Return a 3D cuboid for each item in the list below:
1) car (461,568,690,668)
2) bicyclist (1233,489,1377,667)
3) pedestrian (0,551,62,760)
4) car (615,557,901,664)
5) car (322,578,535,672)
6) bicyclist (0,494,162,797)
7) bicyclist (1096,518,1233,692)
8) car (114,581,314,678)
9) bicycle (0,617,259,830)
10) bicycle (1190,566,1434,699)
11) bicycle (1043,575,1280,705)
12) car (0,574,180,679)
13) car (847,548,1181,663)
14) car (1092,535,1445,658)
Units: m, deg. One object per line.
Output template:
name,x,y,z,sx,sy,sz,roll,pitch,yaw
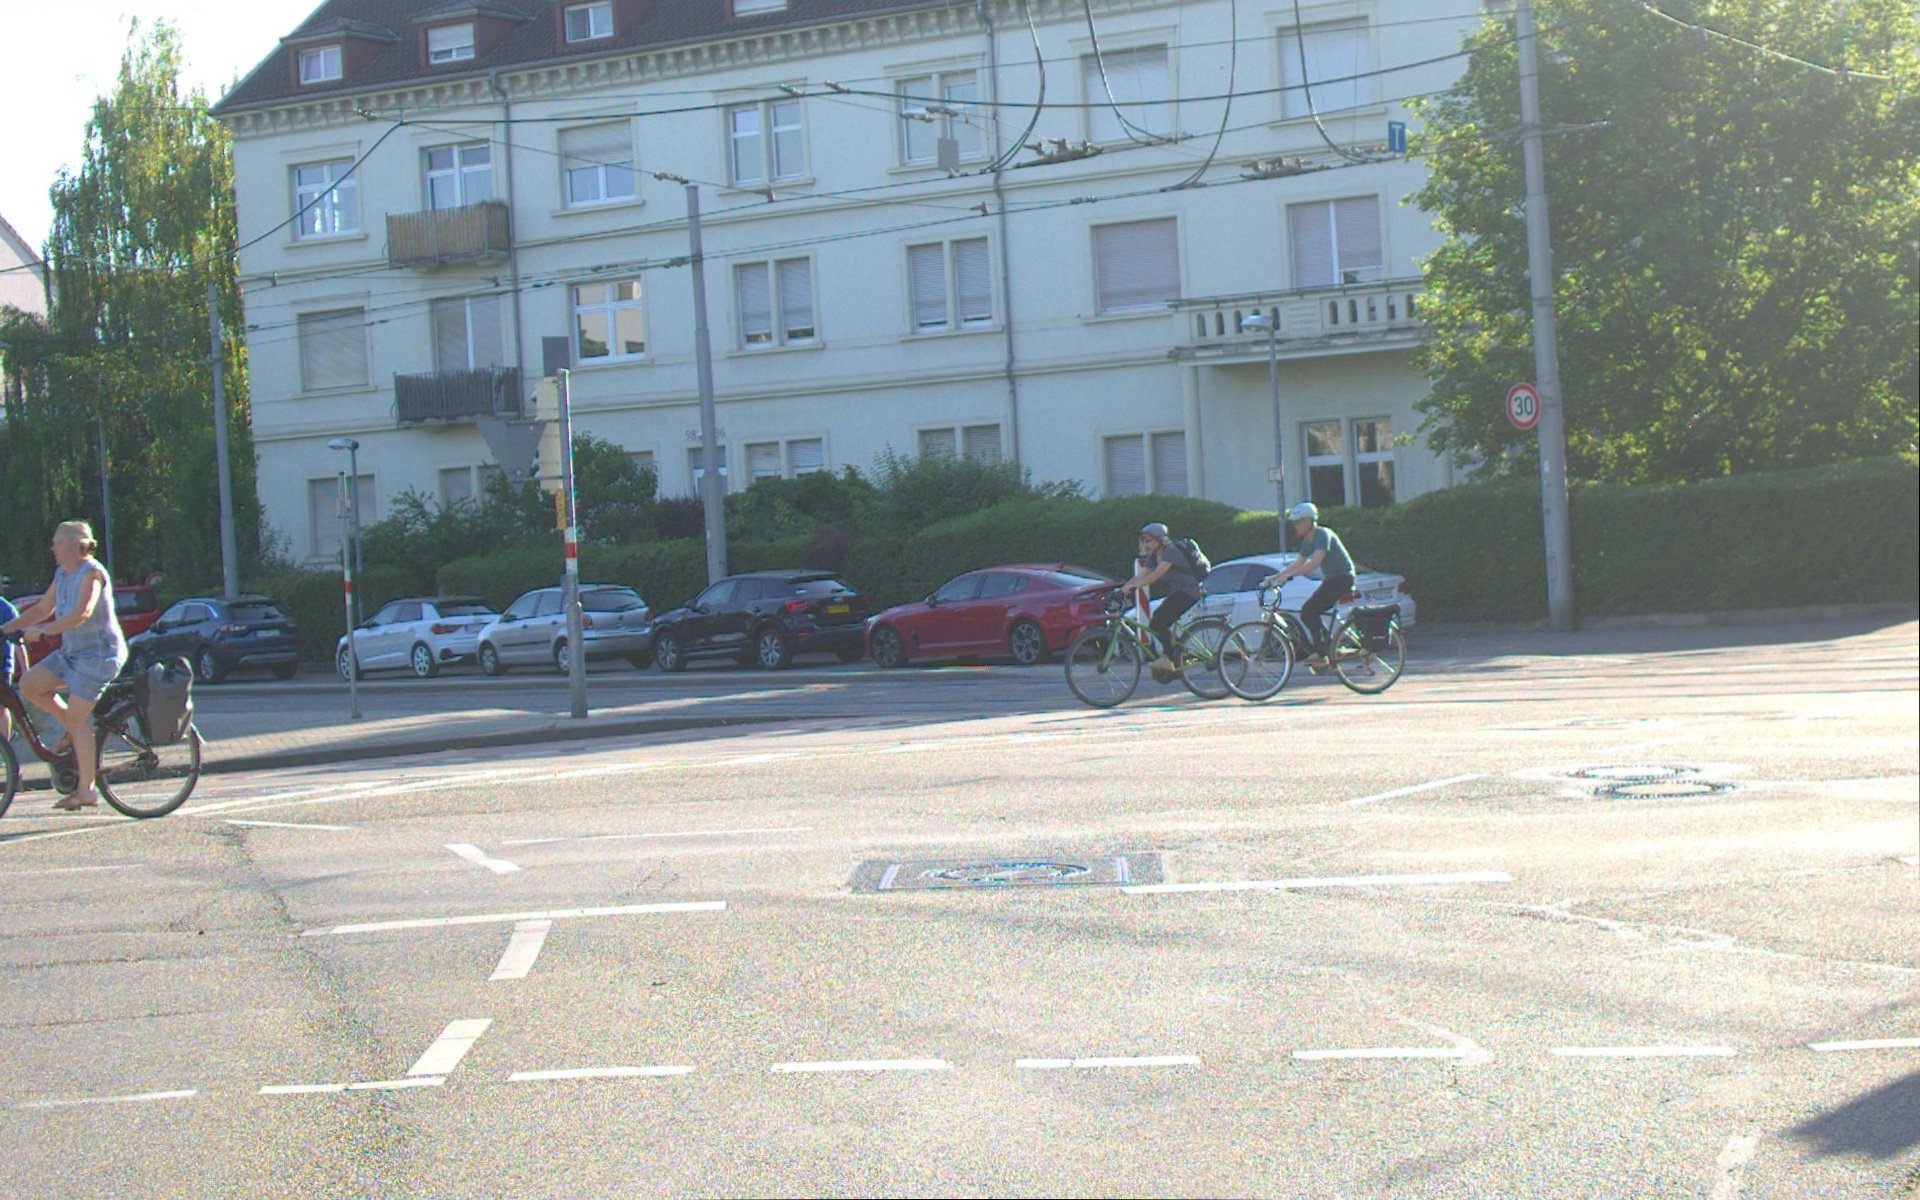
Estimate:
car,-6.498,0.319,57.877,1.982,1.442,3.717,-7,3,-41
bicyclist,3.086,-0.200,30.813,1.034,1.526,0.698,-3,1,-15
pedestrian,-9.077,0.521,32.358,0.911,1.918,1.068,-3,1,-3
car,-3.264,0.186,54.631,1.982,1.442,4.703,-7,3,-41
car,-9.512,0.462,61.372,1.840,1.442,3.957,-7,3,-41
bicyclist,-5.001,0.244,19.059,0.854,1.600,0.777,-3,1,-30
bicyclist,1.872,0.046,31.544,1.034,1.526,0.661,-3,1,-14
car,-14.614,0.594,67.208,1.840,1.662,4.368,-7,3,-41
bicycle,-4.980,0.684,18.979,2.012,1.065,0.663,-3,1,-29
bicycle,3.148,0.280,30.753,2.012,1.065,0.664,-3,1,-15
bicycle,1.849,0.358,31.557,2.012,1.065,0.664,-3,1,-14
car,-18.650,0.576,72.249,2.051,1.955,5.148,-7,3,-41
car,0.748,0.099,50.121,4.702,1.371,1.982,-2,3,44
car,4.088,-0.027,46.124,1.926,1.371,4.494,-7,3,-42
